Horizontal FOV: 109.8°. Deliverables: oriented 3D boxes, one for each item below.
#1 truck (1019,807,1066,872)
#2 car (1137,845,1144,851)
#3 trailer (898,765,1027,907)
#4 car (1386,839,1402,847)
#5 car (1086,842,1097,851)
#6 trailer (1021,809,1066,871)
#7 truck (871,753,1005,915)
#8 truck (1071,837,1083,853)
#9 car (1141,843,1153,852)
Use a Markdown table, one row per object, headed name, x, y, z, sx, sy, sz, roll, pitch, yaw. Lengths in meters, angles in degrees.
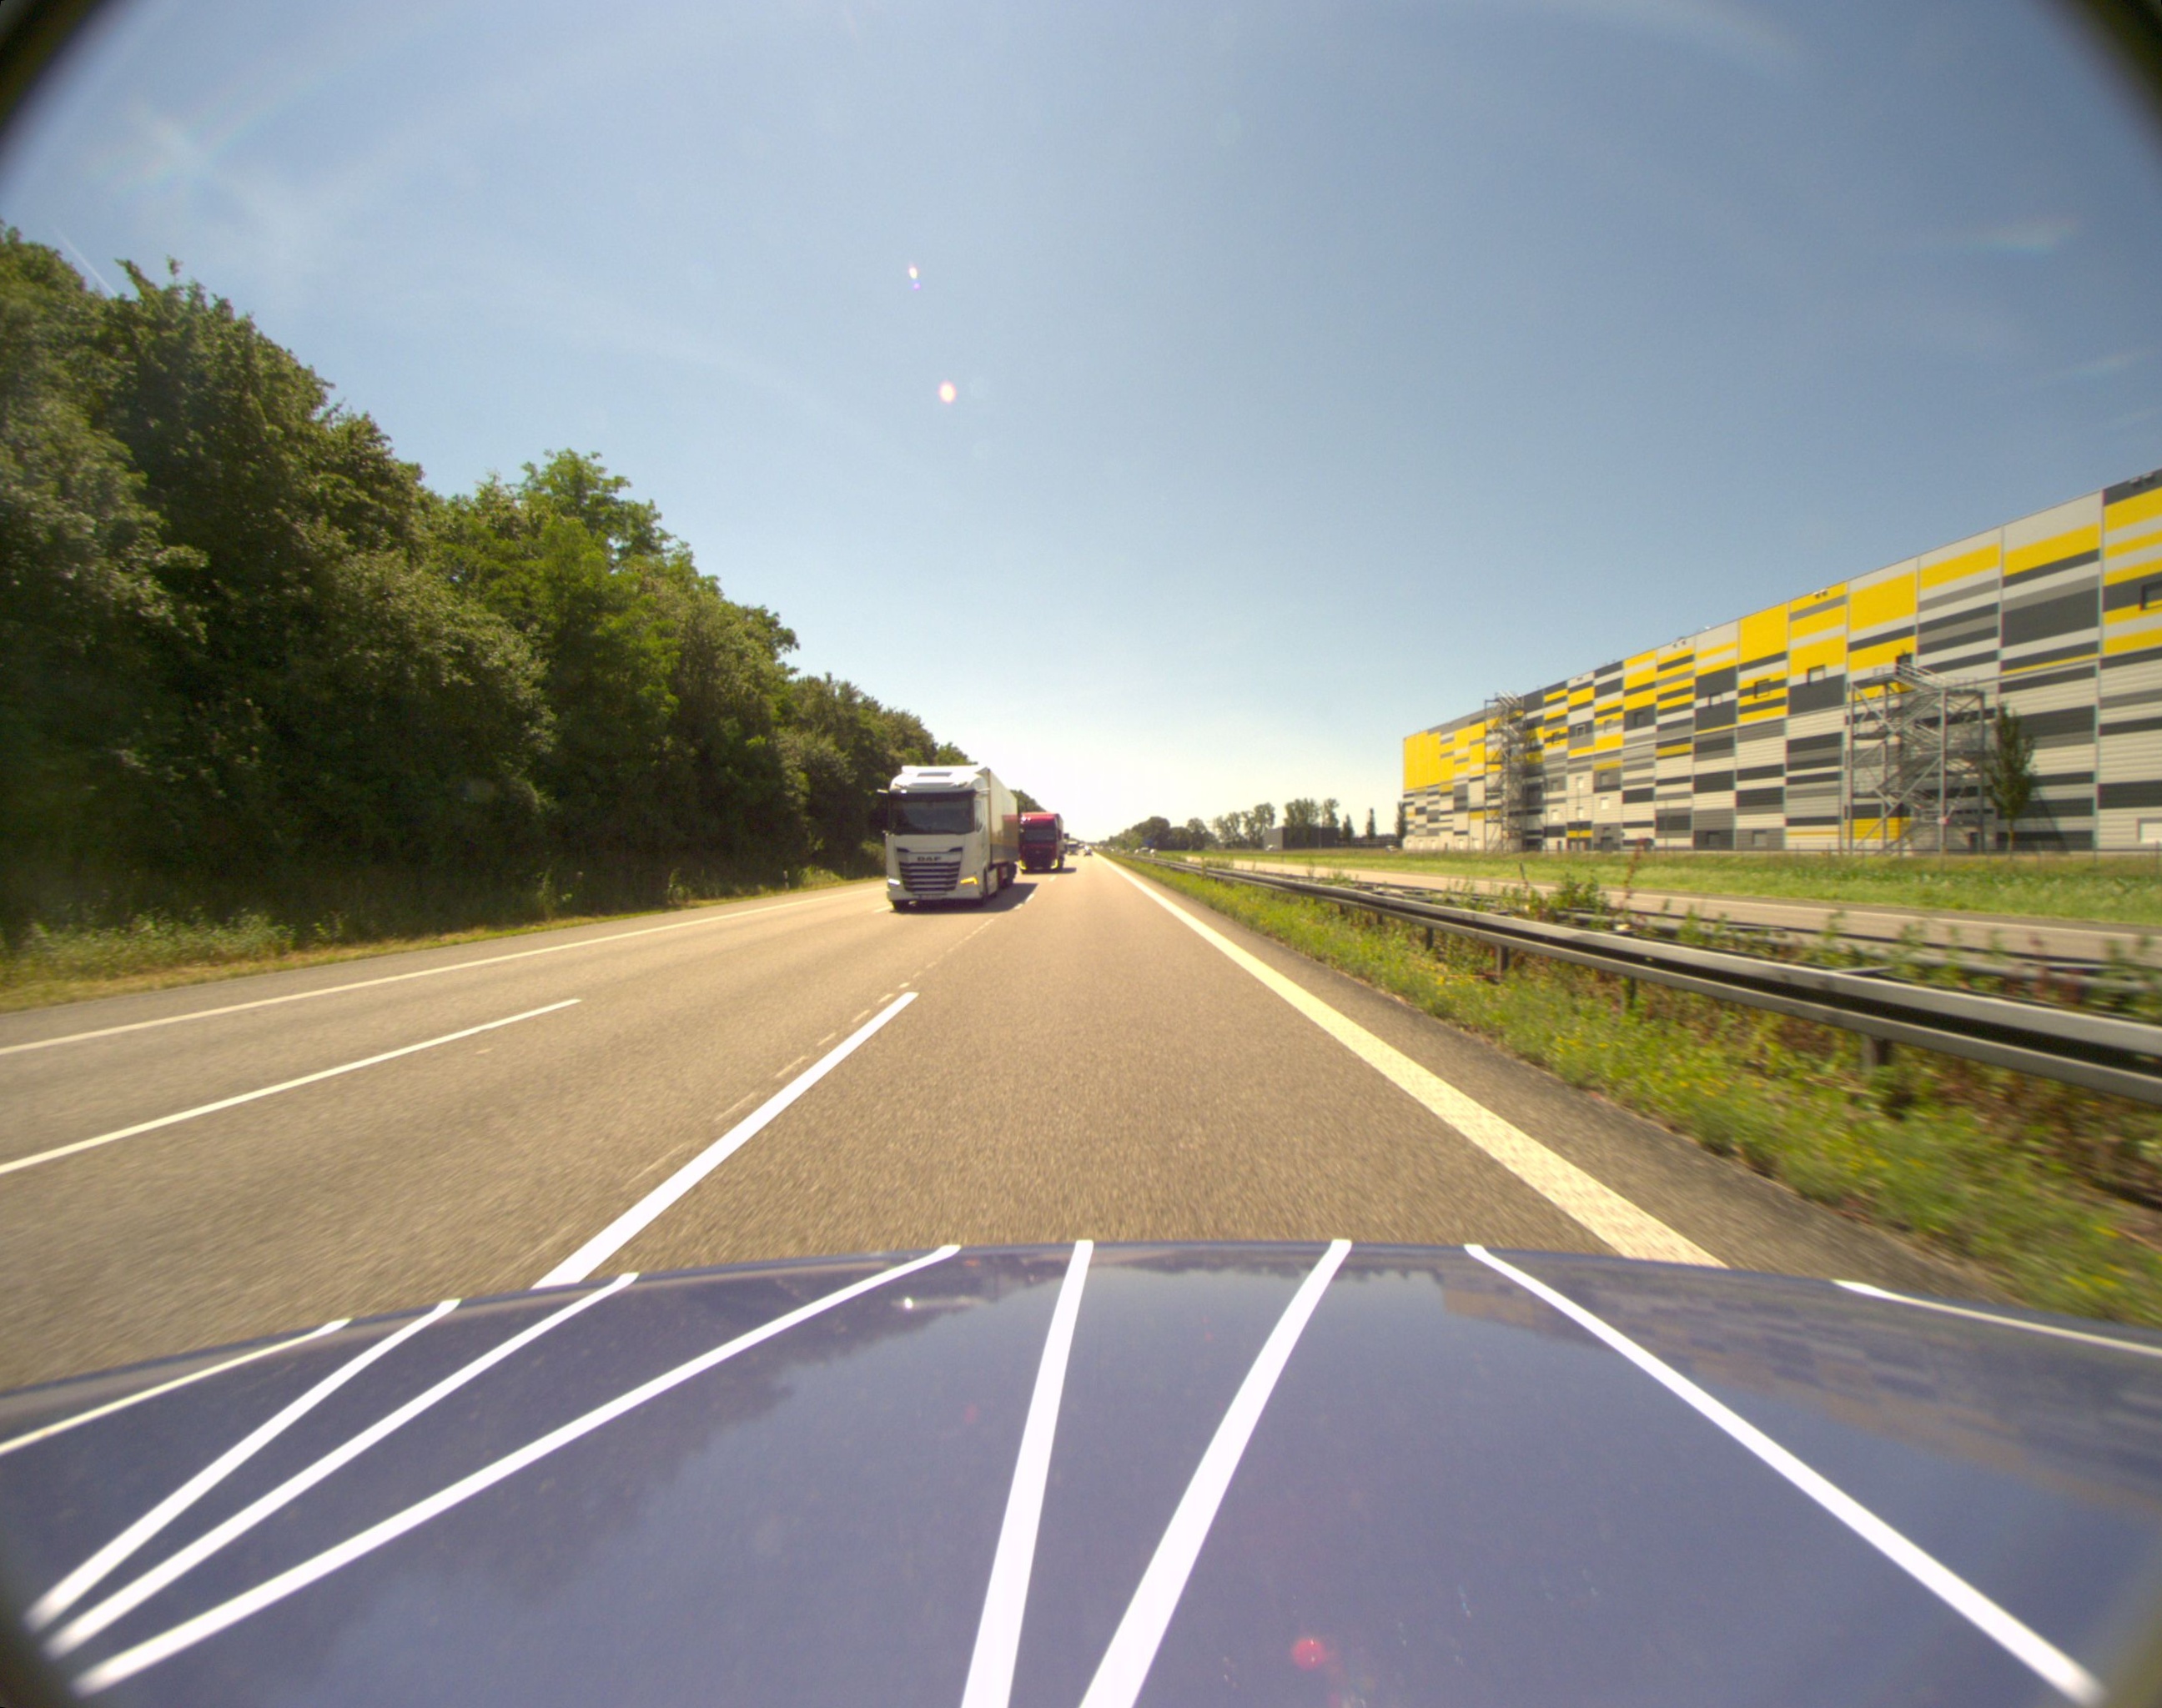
| name | x | y | z | sx | sy | sz | roll | pitch | yaw |
| --- | --- | --- | --- | --- | --- | --- | --- | --- | --- |
| truck | -2.490 | -0.959 | 51.295 | 2.870 | 4.046 | 5.769 | -2 | 1 | -1 |
| car | 15.444 | -1.603 | 197.832 | 1.661 | 1.573 | 4.334 | 0 | 1 | 1 |
| trailer | -3.955 | -0.608 | 29.109 | 2.684 | 4.046 | 13.832 | -2 | 1 | 0 |
| car | 72.580 | -2.522 | 176.169 | 1.832 | 1.726 | 4.268 | 0 | 1 | 0 |
| car | 2.072 | -1.524 | 156.148 | 2.073 | 1.959 | 5.108 | 0 | 1 | -1 |
| trailer | -2.623 | -1.015 | 57.676 | 2.885 | 4.046 | 13.831 | -2 | 1 | -1 |
| truck | -3.946 | -0.544 | 22.455 | 2.684 | 4.046 | 6.047 | -2 | 1 | 0 |
| truck | -1.035 | -2.256 | 195.518 | 2.999 | 4.046 | 5.770 | -2 | 1 | 0 |
| car | 11.748 | -1.140 | 135.309 | 1.661 | 1.573 | 4.334 | 1 | 1 | 1 |
